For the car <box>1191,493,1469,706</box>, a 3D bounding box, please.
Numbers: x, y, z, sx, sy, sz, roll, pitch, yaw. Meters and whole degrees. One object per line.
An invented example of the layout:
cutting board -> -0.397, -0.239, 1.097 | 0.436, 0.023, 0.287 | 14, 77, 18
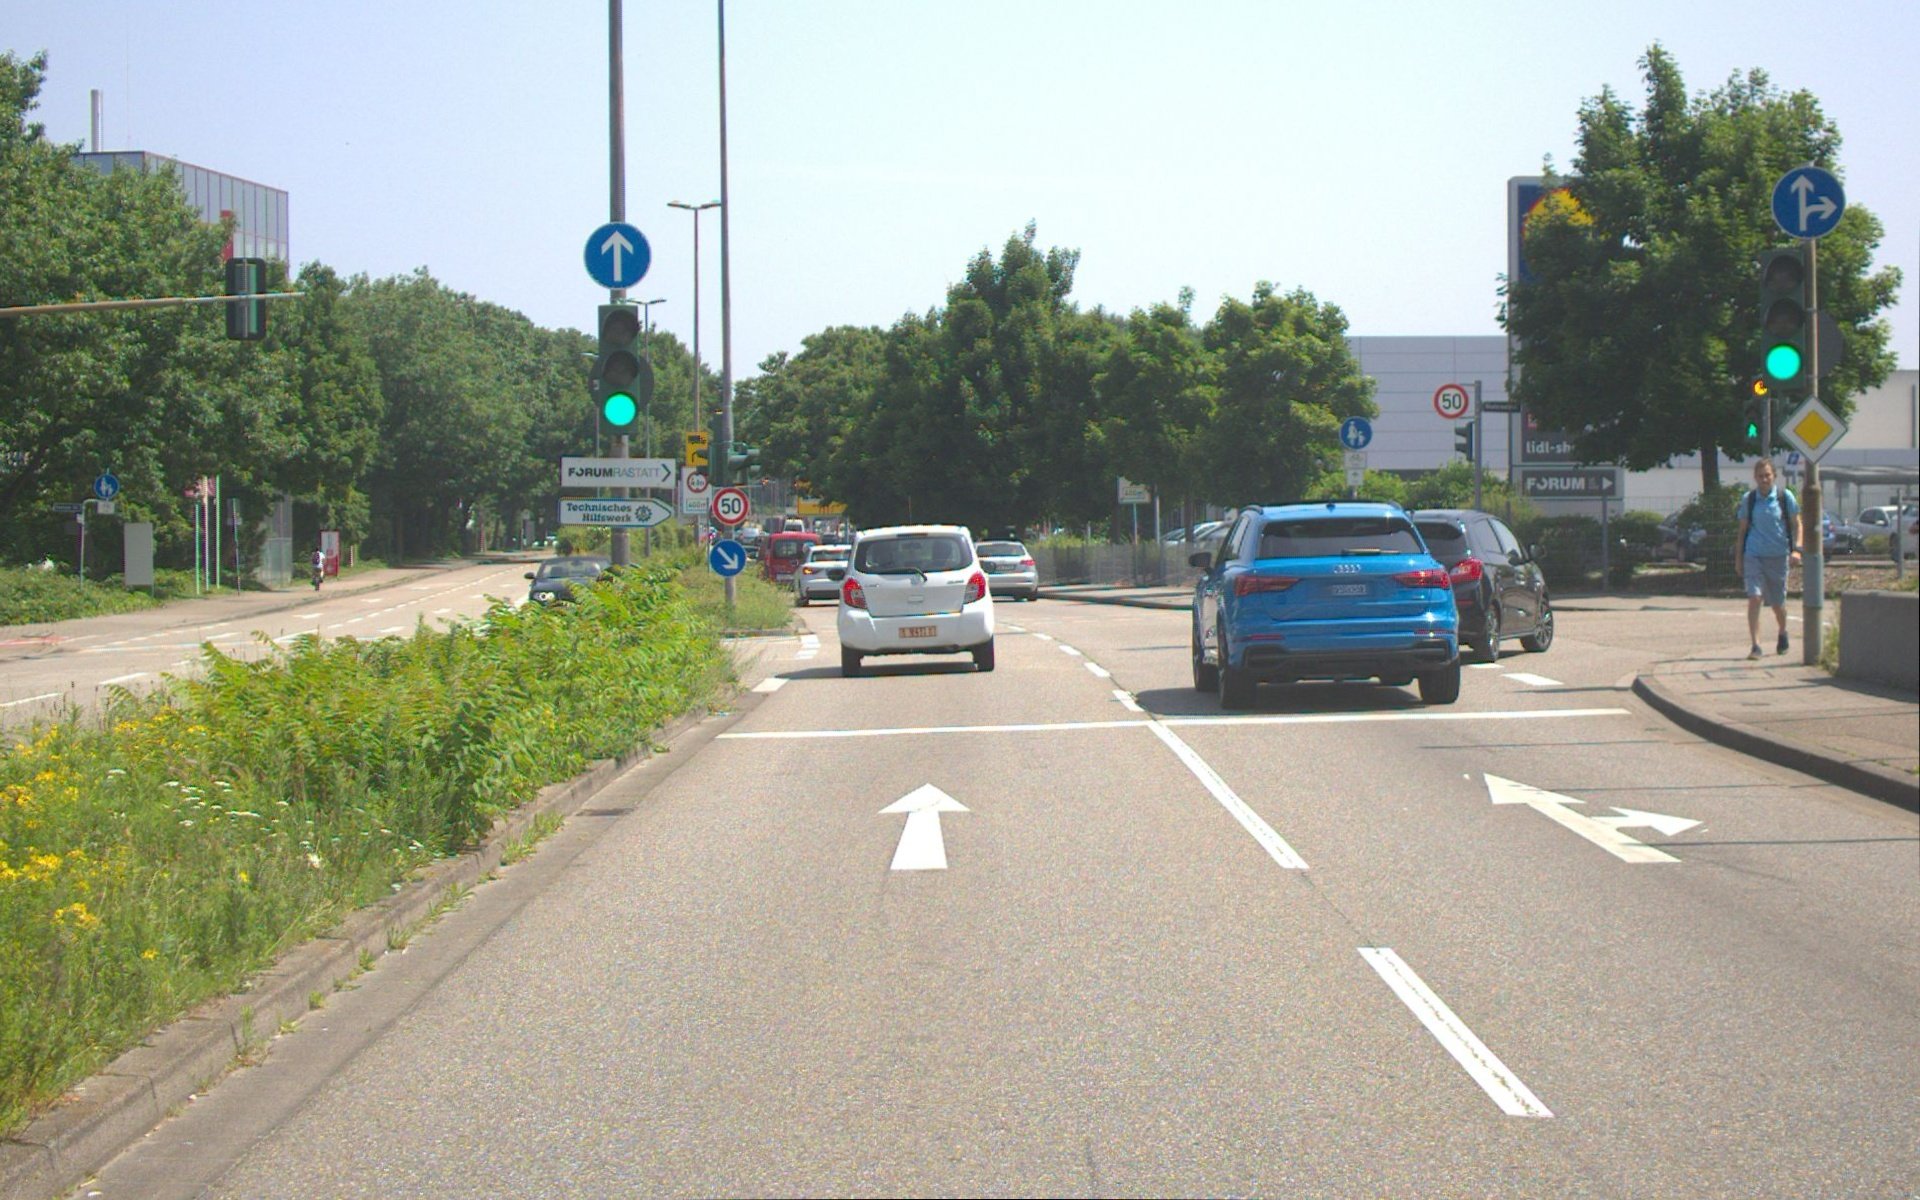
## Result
car -> 2.908, -0.056, 27.696 | 1.828, 1.574, 3.606 | 0, 2, 0

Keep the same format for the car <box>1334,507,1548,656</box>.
car -> 4.757, -0.207, 33.675 | 1.459, 1.371, 3.489 | 0, 1, 18

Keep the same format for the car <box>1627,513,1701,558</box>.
car -> 20.212, -1.853, 98.815 | 1.504, 1.257, 3.165 | -1, 1, 0

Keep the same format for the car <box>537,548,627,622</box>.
car -> -6.880, -0.293, 62.553 | 1.573, 1.264, 3.731 | -1, 1, -6

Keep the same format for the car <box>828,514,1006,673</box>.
car -> -0.440, -0.112, 36.720 | 1.748, 1.515, 3.746 | -2, 2, 0

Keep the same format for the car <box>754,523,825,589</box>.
car -> -4.667, -1.211, 93.702 | 1.775, 1.734, 4.001 | -1, 1, -5

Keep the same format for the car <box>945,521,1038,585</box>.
car -> 0.709, -1.102, 80.190 | 1.993, 1.415, 4.001 | -1, 1, -2

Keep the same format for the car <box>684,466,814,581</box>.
car -> -3.270, -1.206, 52.685 | 1.819, 1.656, 4.001 | -1, 2, -6

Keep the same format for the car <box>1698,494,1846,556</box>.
car -> 19.544, -1.800, 82.809 | 1.505, 1.459, 3.164 | -2, 1, -40

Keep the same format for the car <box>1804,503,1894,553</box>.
car -> 22.845, -1.847, 88.417 | 1.504, 1.257, 3.165 | -1, 1, 0

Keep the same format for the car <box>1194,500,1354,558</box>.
car -> 8.369, -1.889, 91.820 | 3.986, 1.481, 1.651 | -1, 1, -6

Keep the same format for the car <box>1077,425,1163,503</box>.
car -> 4.246, -3.625, 91.803 | 1.769, 2.006, 3.992 | -1, 2, -5

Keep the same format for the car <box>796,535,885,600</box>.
car -> -2.781, -0.780, 80.033 | 1.993, 1.437, 4.001 | -1, 1, -2

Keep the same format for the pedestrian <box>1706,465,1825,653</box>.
pedestrian -> 7.005, -0.360, 29.867 | 0.775, 1.602, 1.083 | 0, 1, 26

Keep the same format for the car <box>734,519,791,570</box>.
car -> -6.773, -1.912, 118.105 | 1.797, 1.684, 4.000 | -1, 1, -2

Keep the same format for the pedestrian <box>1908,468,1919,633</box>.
pedestrian -> 10.110, -0.505, 35.064 | 0.654, 1.680, 0.748 | -1, 1, -1
